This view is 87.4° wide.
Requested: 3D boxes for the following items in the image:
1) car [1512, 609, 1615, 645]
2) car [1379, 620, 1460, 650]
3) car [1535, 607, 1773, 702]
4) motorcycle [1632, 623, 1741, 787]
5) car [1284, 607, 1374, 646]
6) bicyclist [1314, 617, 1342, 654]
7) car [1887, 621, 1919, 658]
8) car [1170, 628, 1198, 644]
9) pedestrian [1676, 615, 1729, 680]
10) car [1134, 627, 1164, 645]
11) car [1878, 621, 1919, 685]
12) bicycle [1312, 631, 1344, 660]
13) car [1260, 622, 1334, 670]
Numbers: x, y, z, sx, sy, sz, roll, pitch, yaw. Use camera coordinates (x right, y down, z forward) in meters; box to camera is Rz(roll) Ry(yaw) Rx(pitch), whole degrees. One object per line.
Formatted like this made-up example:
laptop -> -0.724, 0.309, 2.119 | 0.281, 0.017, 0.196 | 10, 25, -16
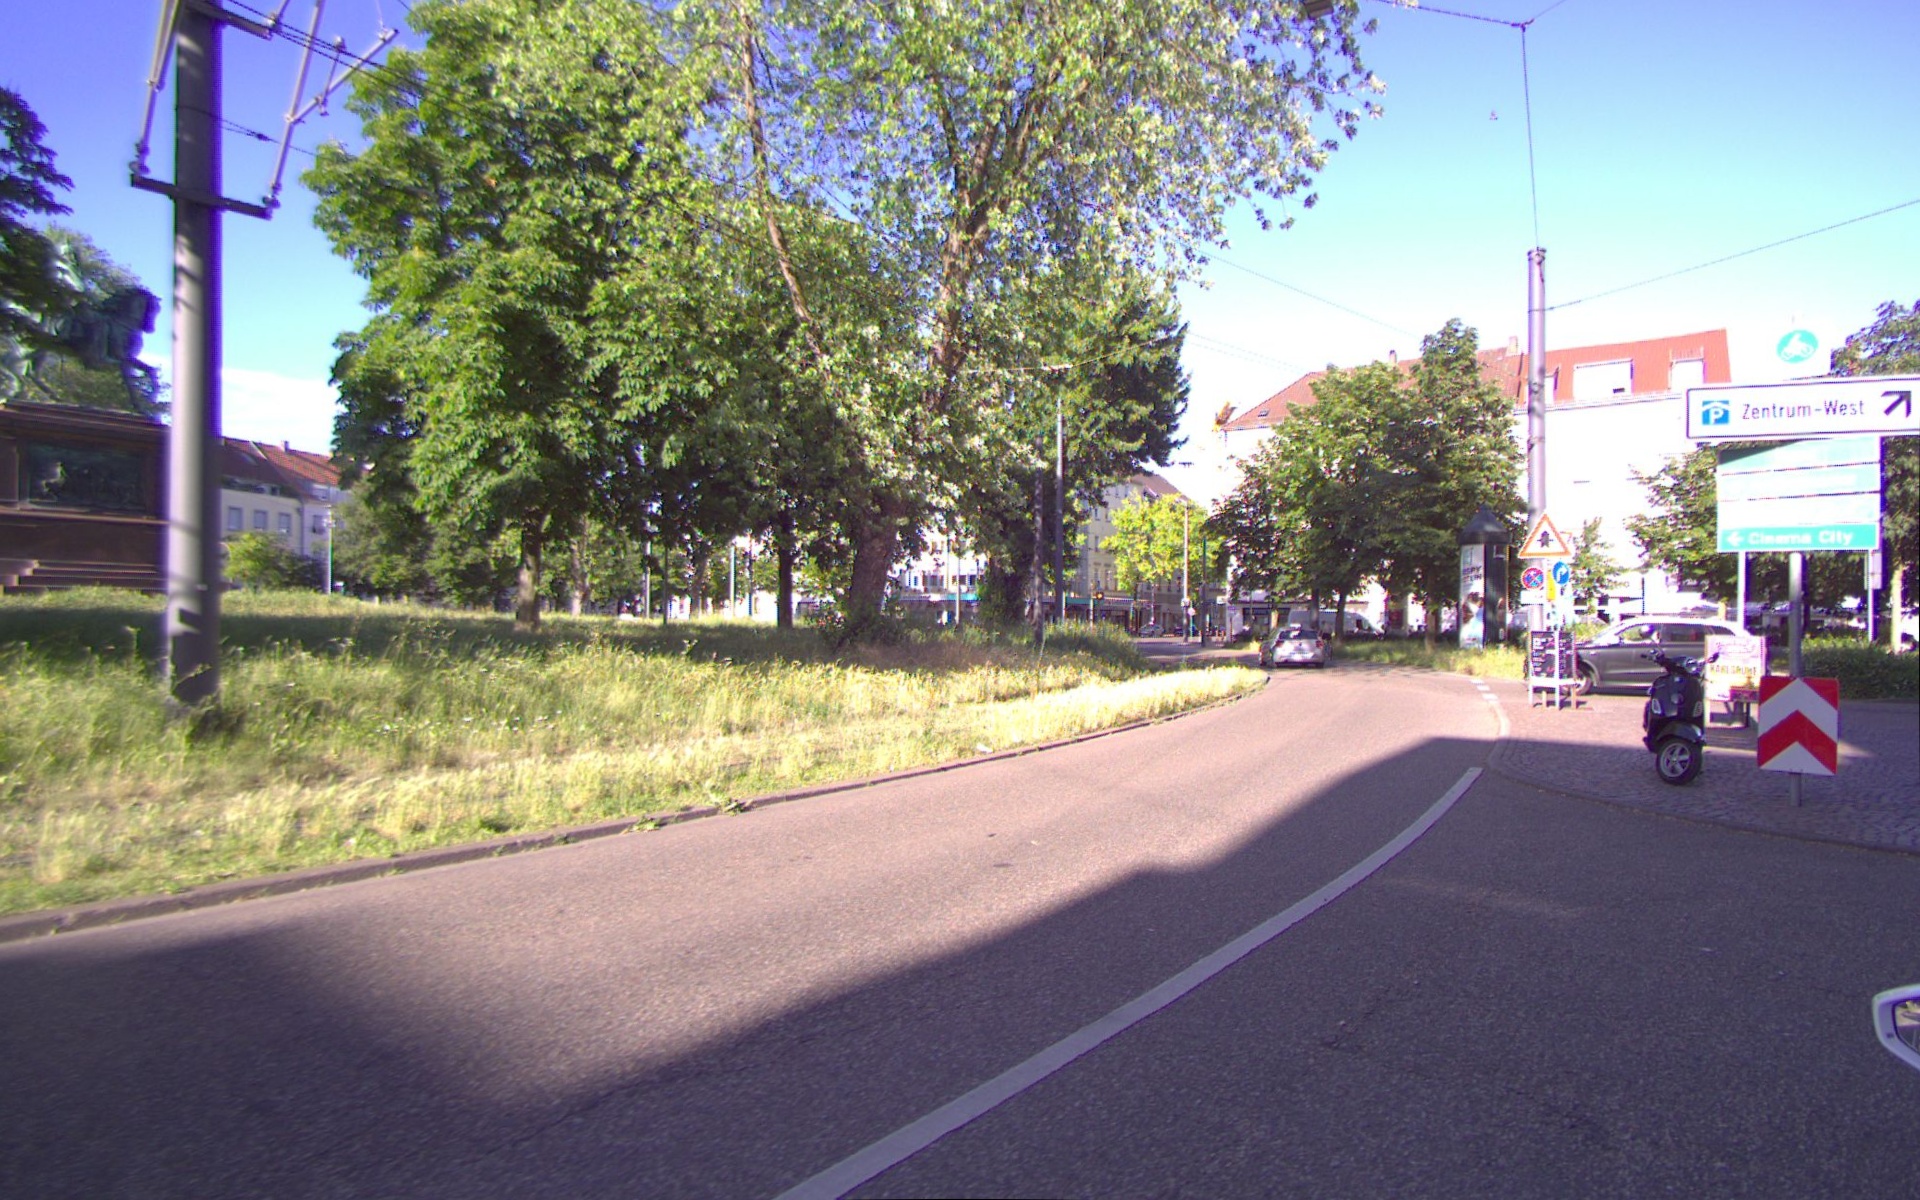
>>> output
car -> 38.519, 1.697, 64.246 | 5.497, 2.040, 1.813 | 2, 0, 33
car -> 31.711, 2.389, 69.364 | 4.794, 1.828, 1.902 | 2, 0, 37
car -> 13.799, 1.046, 20.270 | 3.802, 1.704, 1.809 | 0, -2, 30
motorcycle -> 6.927, 0.939, 9.625 | 0.736, 1.392, 1.755 | 2, 0, 35
car -> 24.891, 1.771, 67.840 | 5.266, 2.344, 1.993 | 2, 0, 36
bicyclist -> 15.397, 1.476, 42.033 | 0.913, 1.527, 0.826 | 2, 0, 11
car -> 50.293, 2.094, 50.386 | 5.189, 1.823, 2.158 | 2, 0, 32
car -> 27.154, 4.362, 121.680 | 1.965, 1.807, 3.991 | 2, 1, 32
pedestrian -> 18.376, 1.162, 24.887 | 0.755, 1.542, 0.959 | 2, 0, 20
car -> 21.368, 4.082, 113.658 | 1.965, 1.807, 3.991 | 2, 1, 32
car -> 24.311, 1.325, 23.369 | 3.924, 1.489, 1.874 | 2, 0, 24
bicycle -> 15.375, 1.880, 42.024 | 0.796, 1.083, 2.585 | 2, 0, 11
car -> 11.763, 1.561, 35.329 | 1.959, 1.442, 4.199 | 2, 0, 12
